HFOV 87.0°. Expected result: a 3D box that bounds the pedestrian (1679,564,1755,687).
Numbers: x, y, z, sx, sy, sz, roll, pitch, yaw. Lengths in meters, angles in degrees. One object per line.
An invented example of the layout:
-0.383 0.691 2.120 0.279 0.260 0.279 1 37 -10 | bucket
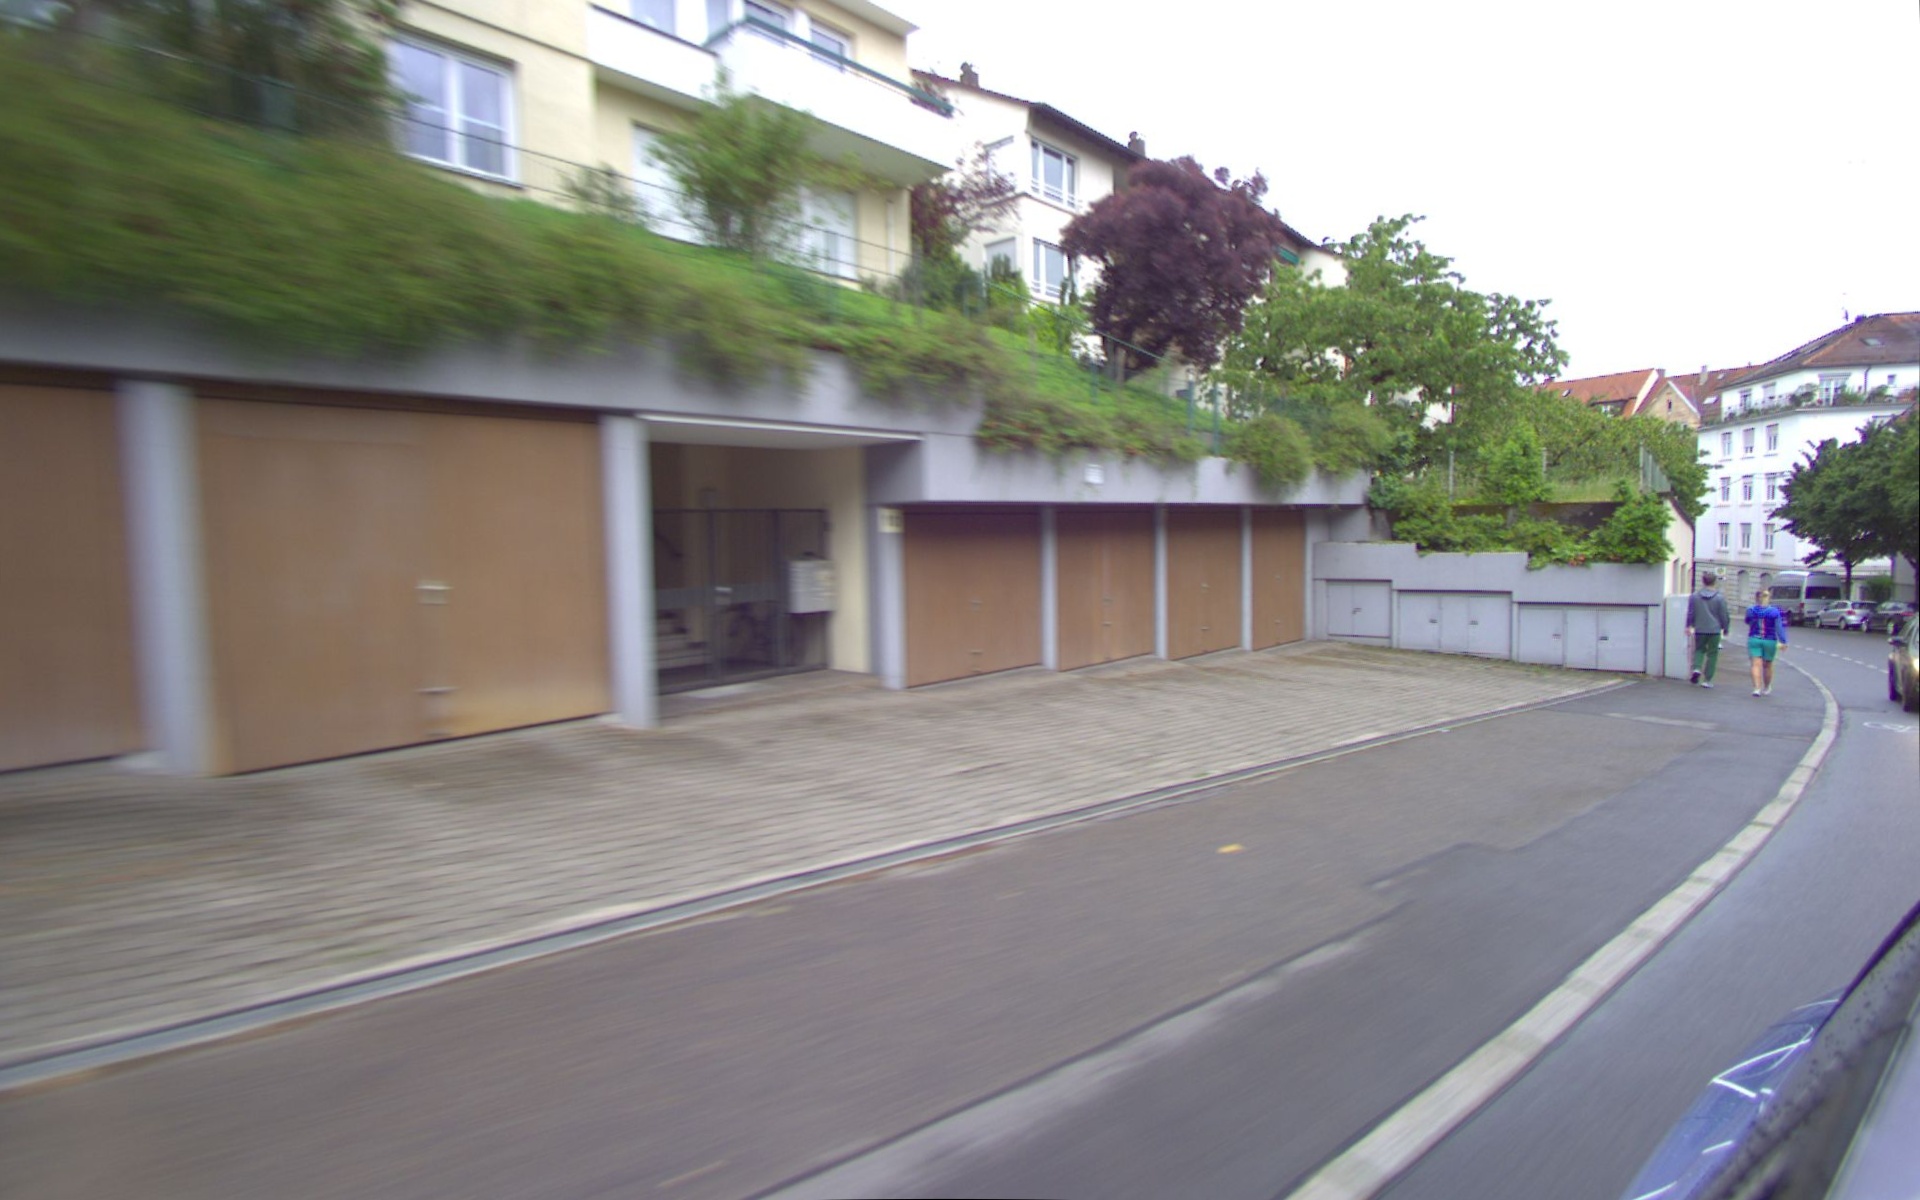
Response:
12.150 0.384 16.238 0.775 1.854 1.232 5 3 41 | pedestrian

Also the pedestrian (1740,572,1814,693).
12.667 0.469 15.685 0.775 1.780 0.996 4 3 41 | pedestrian

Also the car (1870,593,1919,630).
41.253 0.469 43.540 1.774 1.512 4.462 2 1 24 | car

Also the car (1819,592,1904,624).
43.465 0.366 48.907 1.570 1.427 4.024 1 1 18 | car

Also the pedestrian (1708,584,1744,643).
24.788 0.417 32.761 0.897 1.874 0.792 1 1 36 | pedestrian

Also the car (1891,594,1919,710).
14.946 0.676 14.830 1.691 1.483 3.942 -3 -1 41 | car

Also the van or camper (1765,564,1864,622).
45.558 -0.385 54.121 2.047 2.895 5.712 1 1 19 | van or camper
